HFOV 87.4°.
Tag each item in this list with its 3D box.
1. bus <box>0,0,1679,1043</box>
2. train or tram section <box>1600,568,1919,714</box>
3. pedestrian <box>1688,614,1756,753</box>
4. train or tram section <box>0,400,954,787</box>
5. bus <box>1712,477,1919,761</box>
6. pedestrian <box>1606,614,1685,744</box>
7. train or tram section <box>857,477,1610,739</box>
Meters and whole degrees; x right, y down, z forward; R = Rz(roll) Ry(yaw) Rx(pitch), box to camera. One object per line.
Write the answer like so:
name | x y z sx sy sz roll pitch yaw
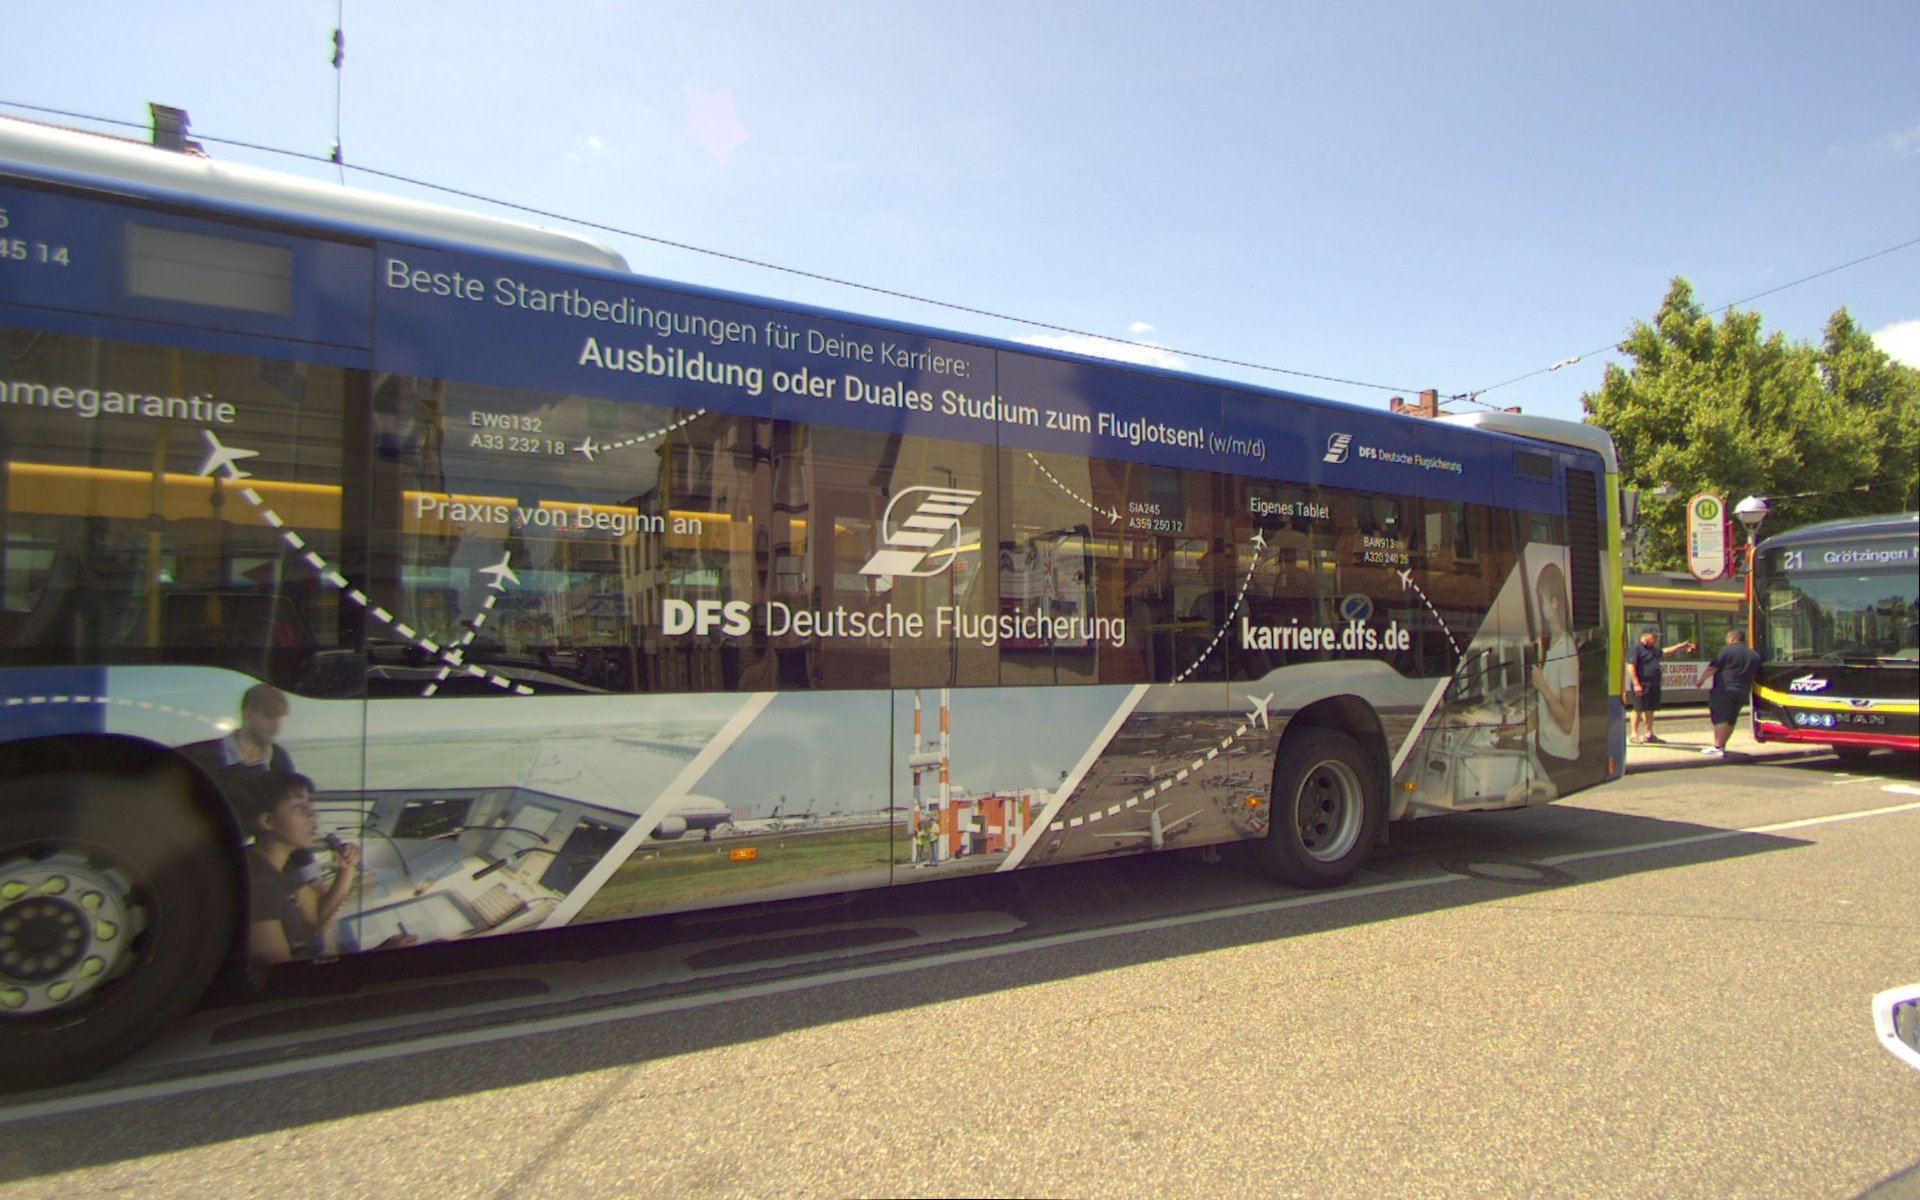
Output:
bus | -0.503 -0.306 5.803 11.900 3.472 2.894 4 -1 -30
train or tram section | 24.528 1.281 30.039 13.827 3.691 2.950 2 -1 -30
pedestrian | 10.201 1.100 13.460 0.582 1.800 0.386 2 -1 19
train or tram section | -6.274 0.076 12.368 12.506 3.541 2.950 2 -1 -30
bus | 16.083 0.538 15.180 12.051 3.290 2.885 4 -1 -29
pedestrian | 9.952 1.125 14.601 0.767 1.800 0.574 2 -1 19
train or tram section | 6.477 0.424 19.704 17.145 3.691 2.950 2 -1 -30
